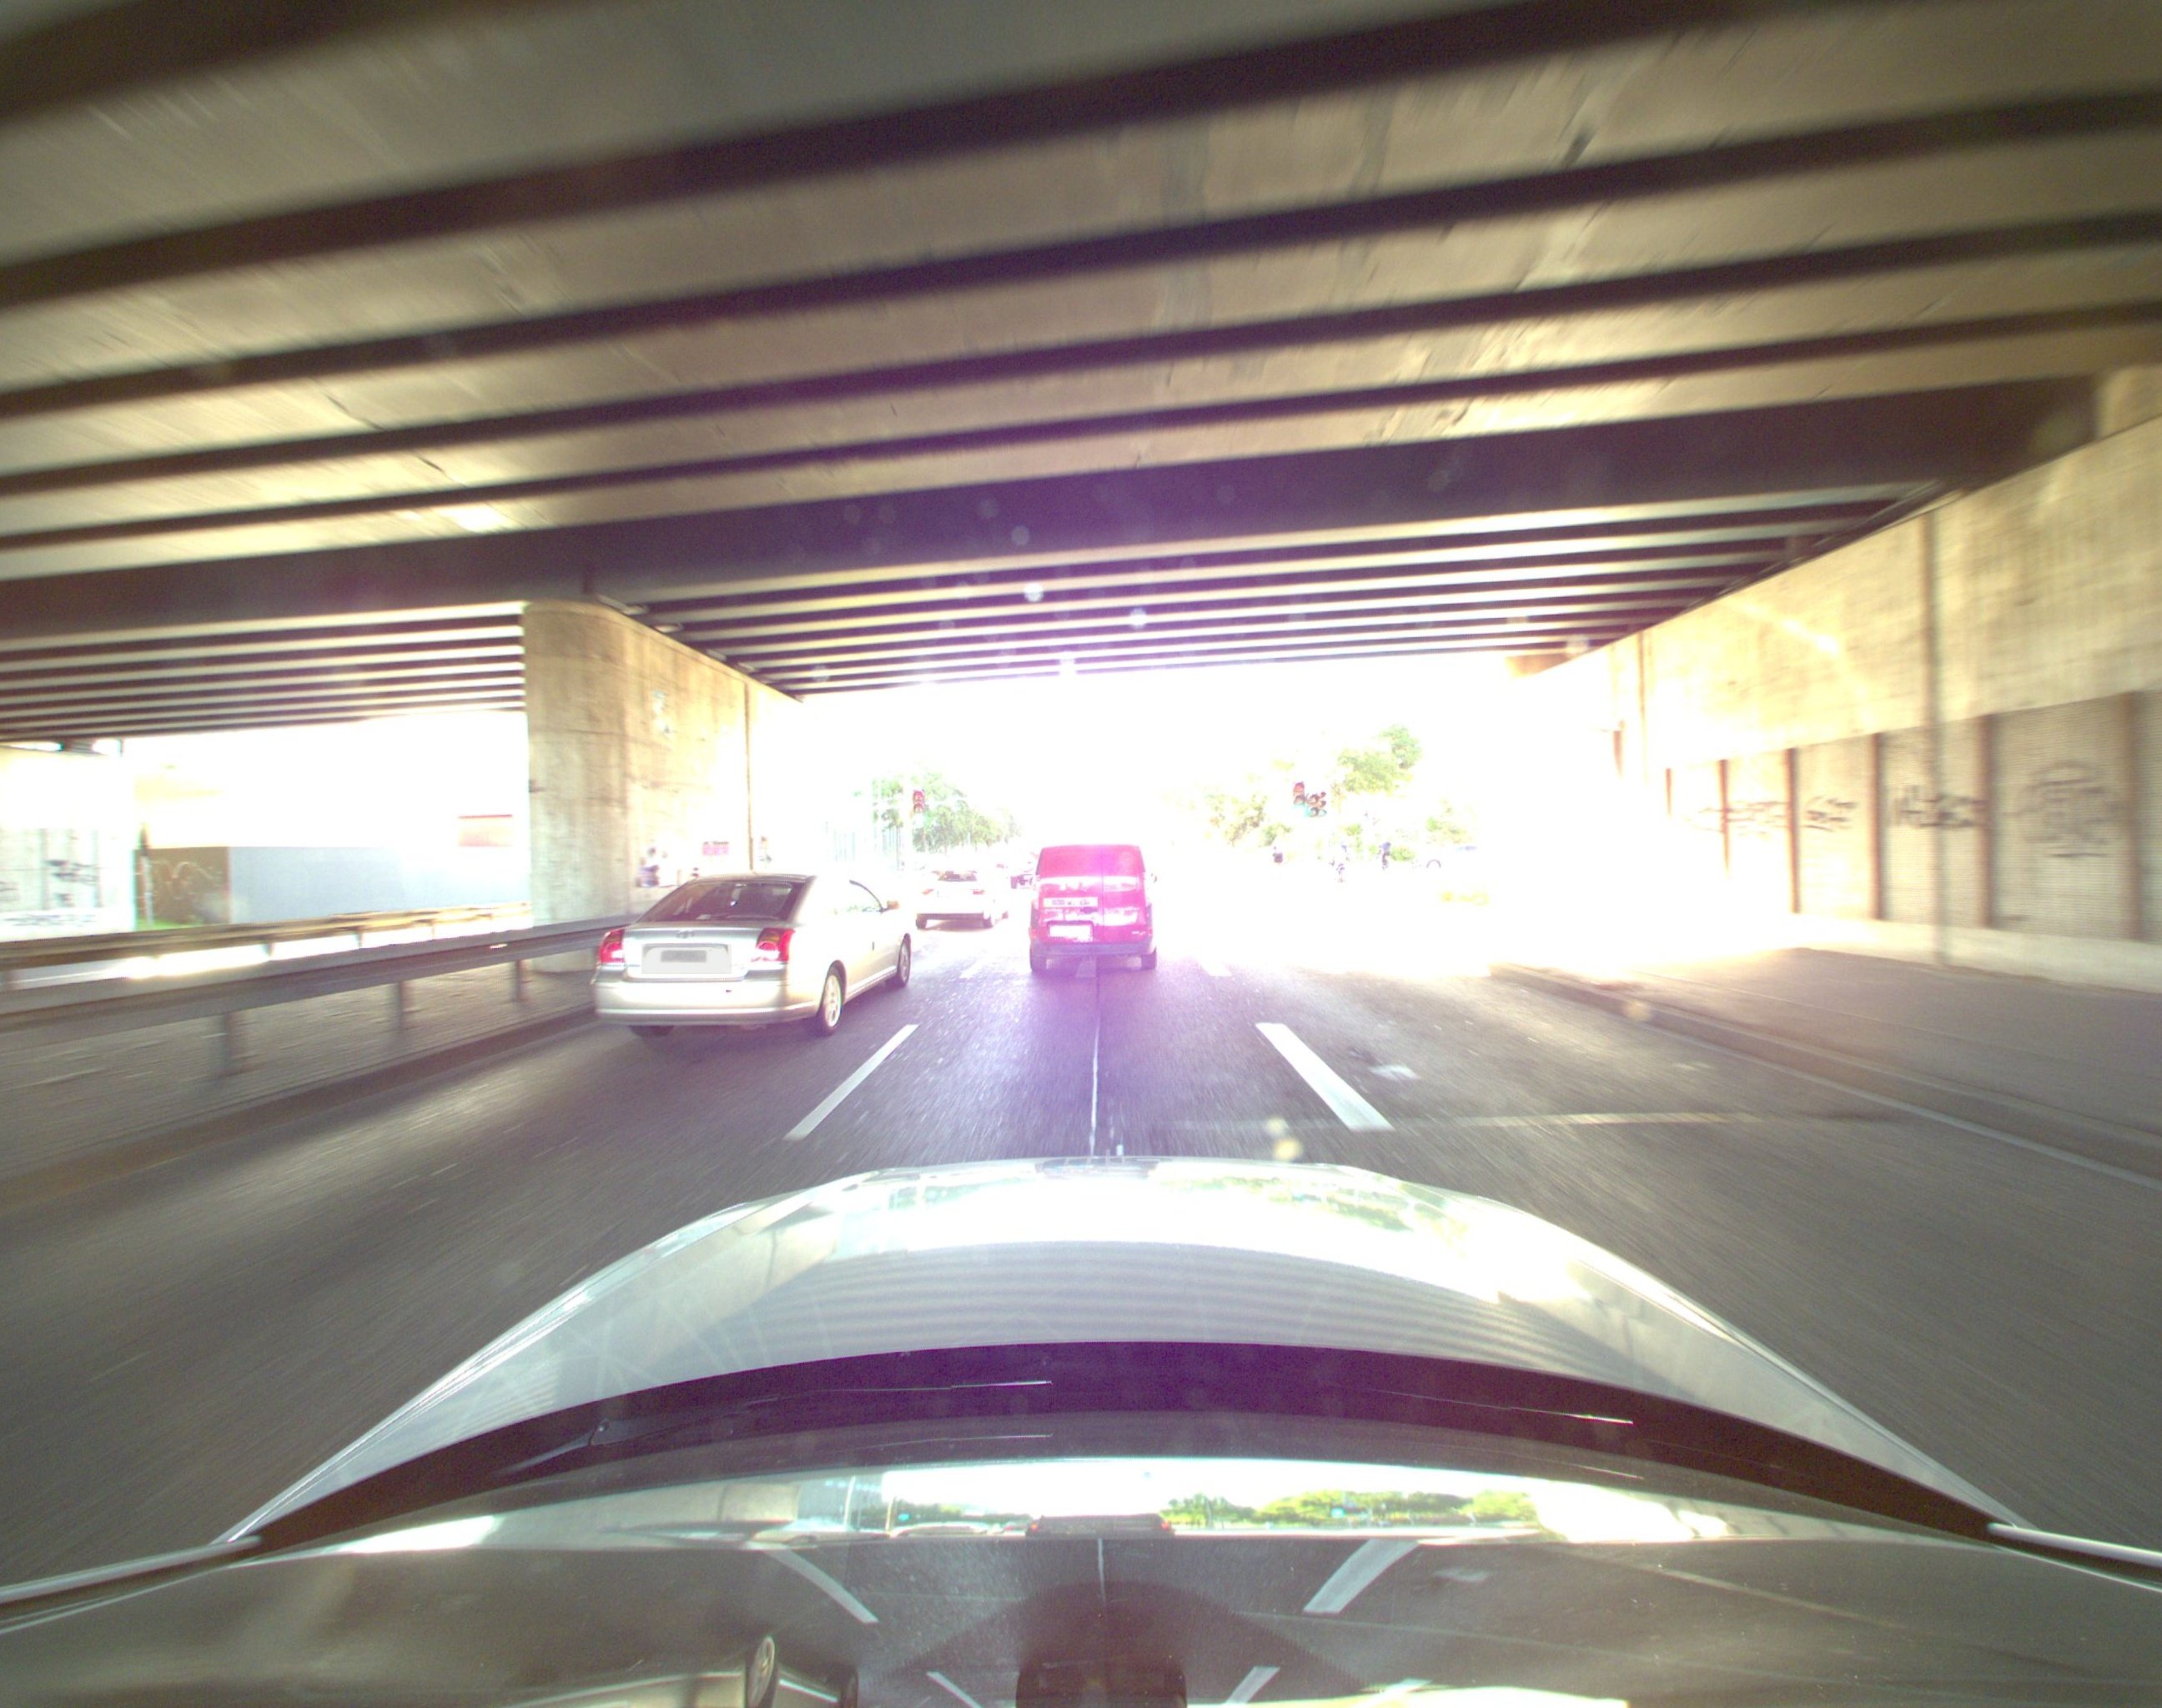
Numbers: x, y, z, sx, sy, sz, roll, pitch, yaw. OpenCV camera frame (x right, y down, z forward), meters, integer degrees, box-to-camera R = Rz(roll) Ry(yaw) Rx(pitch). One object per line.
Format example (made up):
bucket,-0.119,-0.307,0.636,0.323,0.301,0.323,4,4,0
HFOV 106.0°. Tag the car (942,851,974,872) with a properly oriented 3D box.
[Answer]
car,-10.562,0.611,70.208,1.817,1.625,4.532,-4,0,3

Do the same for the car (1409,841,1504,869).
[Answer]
car,21.251,0.071,46.253,4.522,1.514,1.832,-1,-1,8

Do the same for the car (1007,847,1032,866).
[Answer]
car,-5.141,0.181,68.673,1.629,1.443,3.721,-4,0,2

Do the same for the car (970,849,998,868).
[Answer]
car,-8.098,0.361,68.306,1.629,1.443,4.079,-4,0,2

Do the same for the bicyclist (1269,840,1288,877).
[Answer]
bicyclist,8.719,0.213,35.950,0.589,1.613,0.942,-1,-1,1

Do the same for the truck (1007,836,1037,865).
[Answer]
truck,-6.709,-0.363,93.344,2.400,3.026,6.660,-4,0,2

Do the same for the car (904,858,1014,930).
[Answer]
car,-2.696,0.854,18.877,1.806,1.438,3.733,-1,0,2

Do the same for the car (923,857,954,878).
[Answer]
car,-13.206,1.193,75.549,1.818,1.737,4.531,-4,0,2

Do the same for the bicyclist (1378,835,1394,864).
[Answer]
bicyclist,15.758,-0.235,42.081,0.646,1.481,0.619,-1,0,6

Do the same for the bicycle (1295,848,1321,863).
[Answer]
bicycle,16.766,0.121,60.154,1.734,1.023,0.595,-1,-1,10

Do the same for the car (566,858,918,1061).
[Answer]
car,-2.985,0.822,8.292,1.727,1.480,4.318,-1,-1,0

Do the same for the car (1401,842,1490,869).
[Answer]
car,21.760,0.116,48.788,4.522,1.514,1.832,-1,-1,8

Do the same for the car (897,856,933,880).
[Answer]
car,-13.567,1.118,66.857,1.818,1.737,4.630,-4,0,1

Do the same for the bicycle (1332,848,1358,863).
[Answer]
bicycle,19.031,0.110,58.725,1.734,1.023,0.595,-1,-1,10

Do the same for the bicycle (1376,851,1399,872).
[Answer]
bicycle,15.764,0.379,41.936,0.664,1.023,1.754,-1,1,7

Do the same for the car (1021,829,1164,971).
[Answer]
car,0.198,0.625,12.393,1.798,1.794,4.001,-1,-1,1

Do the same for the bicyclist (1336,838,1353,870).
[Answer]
bicyclist,12.532,0.010,38.738,0.660,1.474,0.754,-1,-1,14

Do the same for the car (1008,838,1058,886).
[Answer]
car,-2.054,0.368,36.193,1.794,1.989,4.590,-1,-1,1

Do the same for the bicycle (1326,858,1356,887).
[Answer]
bicycle,9.492,0.684,29.774,0.589,1.023,1.751,-1,-1,2

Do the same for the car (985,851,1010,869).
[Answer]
car,-7.562,0.515,74.072,1.630,1.443,4.077,-4,0,1

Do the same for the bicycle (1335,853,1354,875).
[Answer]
bicycle,12.570,0.472,38.867,0.667,1.023,2.062,-1,-1,13

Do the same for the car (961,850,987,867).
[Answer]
car,-10.225,0.411,77.953,1.639,1.404,3.981,-4,0,3

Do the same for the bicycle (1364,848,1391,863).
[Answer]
bicycle,20.953,0.115,57.582,1.733,1.023,0.595,-1,-1,12

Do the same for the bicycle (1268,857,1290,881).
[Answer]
bicycle,8.739,0.662,35.944,0.589,1.023,1.751,-1,-1,2

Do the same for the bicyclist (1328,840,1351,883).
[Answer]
bicyclist,9.460,0.277,29.799,0.589,1.548,0.769,-1,-1,1
